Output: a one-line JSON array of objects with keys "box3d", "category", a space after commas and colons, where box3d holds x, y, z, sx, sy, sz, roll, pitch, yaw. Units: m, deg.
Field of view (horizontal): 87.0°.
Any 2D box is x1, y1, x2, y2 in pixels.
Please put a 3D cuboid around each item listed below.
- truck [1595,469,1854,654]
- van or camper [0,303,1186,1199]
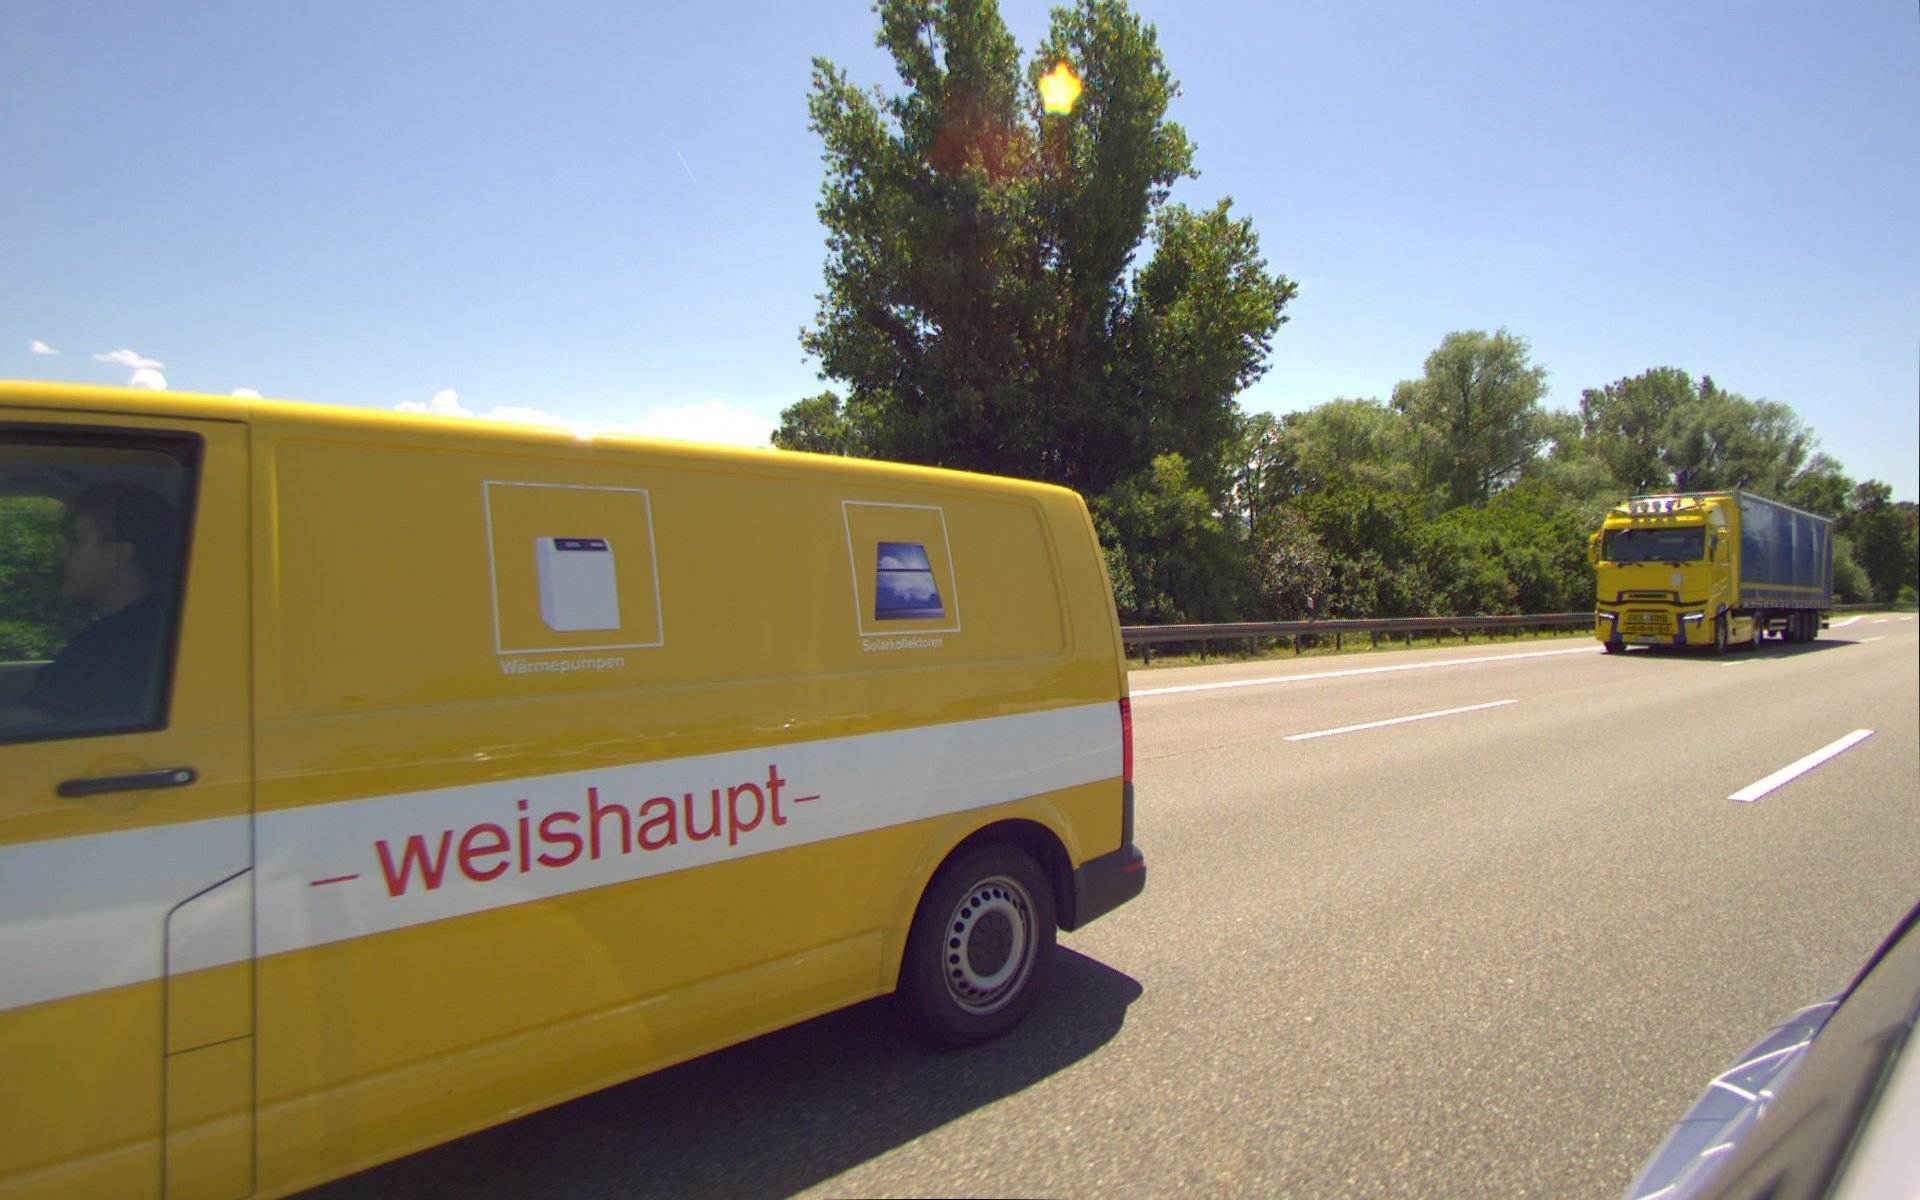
[{"box3d": [23.293, -1.084, 30.111, 16.501, 4.310, 2.850, -1, 2, -41], "category": "truck"}, {"box3d": [-1.622, 0.457, 3.013, 4.885, 1.933, 1.997, -1, 0, -41], "category": "van or camper"}]
